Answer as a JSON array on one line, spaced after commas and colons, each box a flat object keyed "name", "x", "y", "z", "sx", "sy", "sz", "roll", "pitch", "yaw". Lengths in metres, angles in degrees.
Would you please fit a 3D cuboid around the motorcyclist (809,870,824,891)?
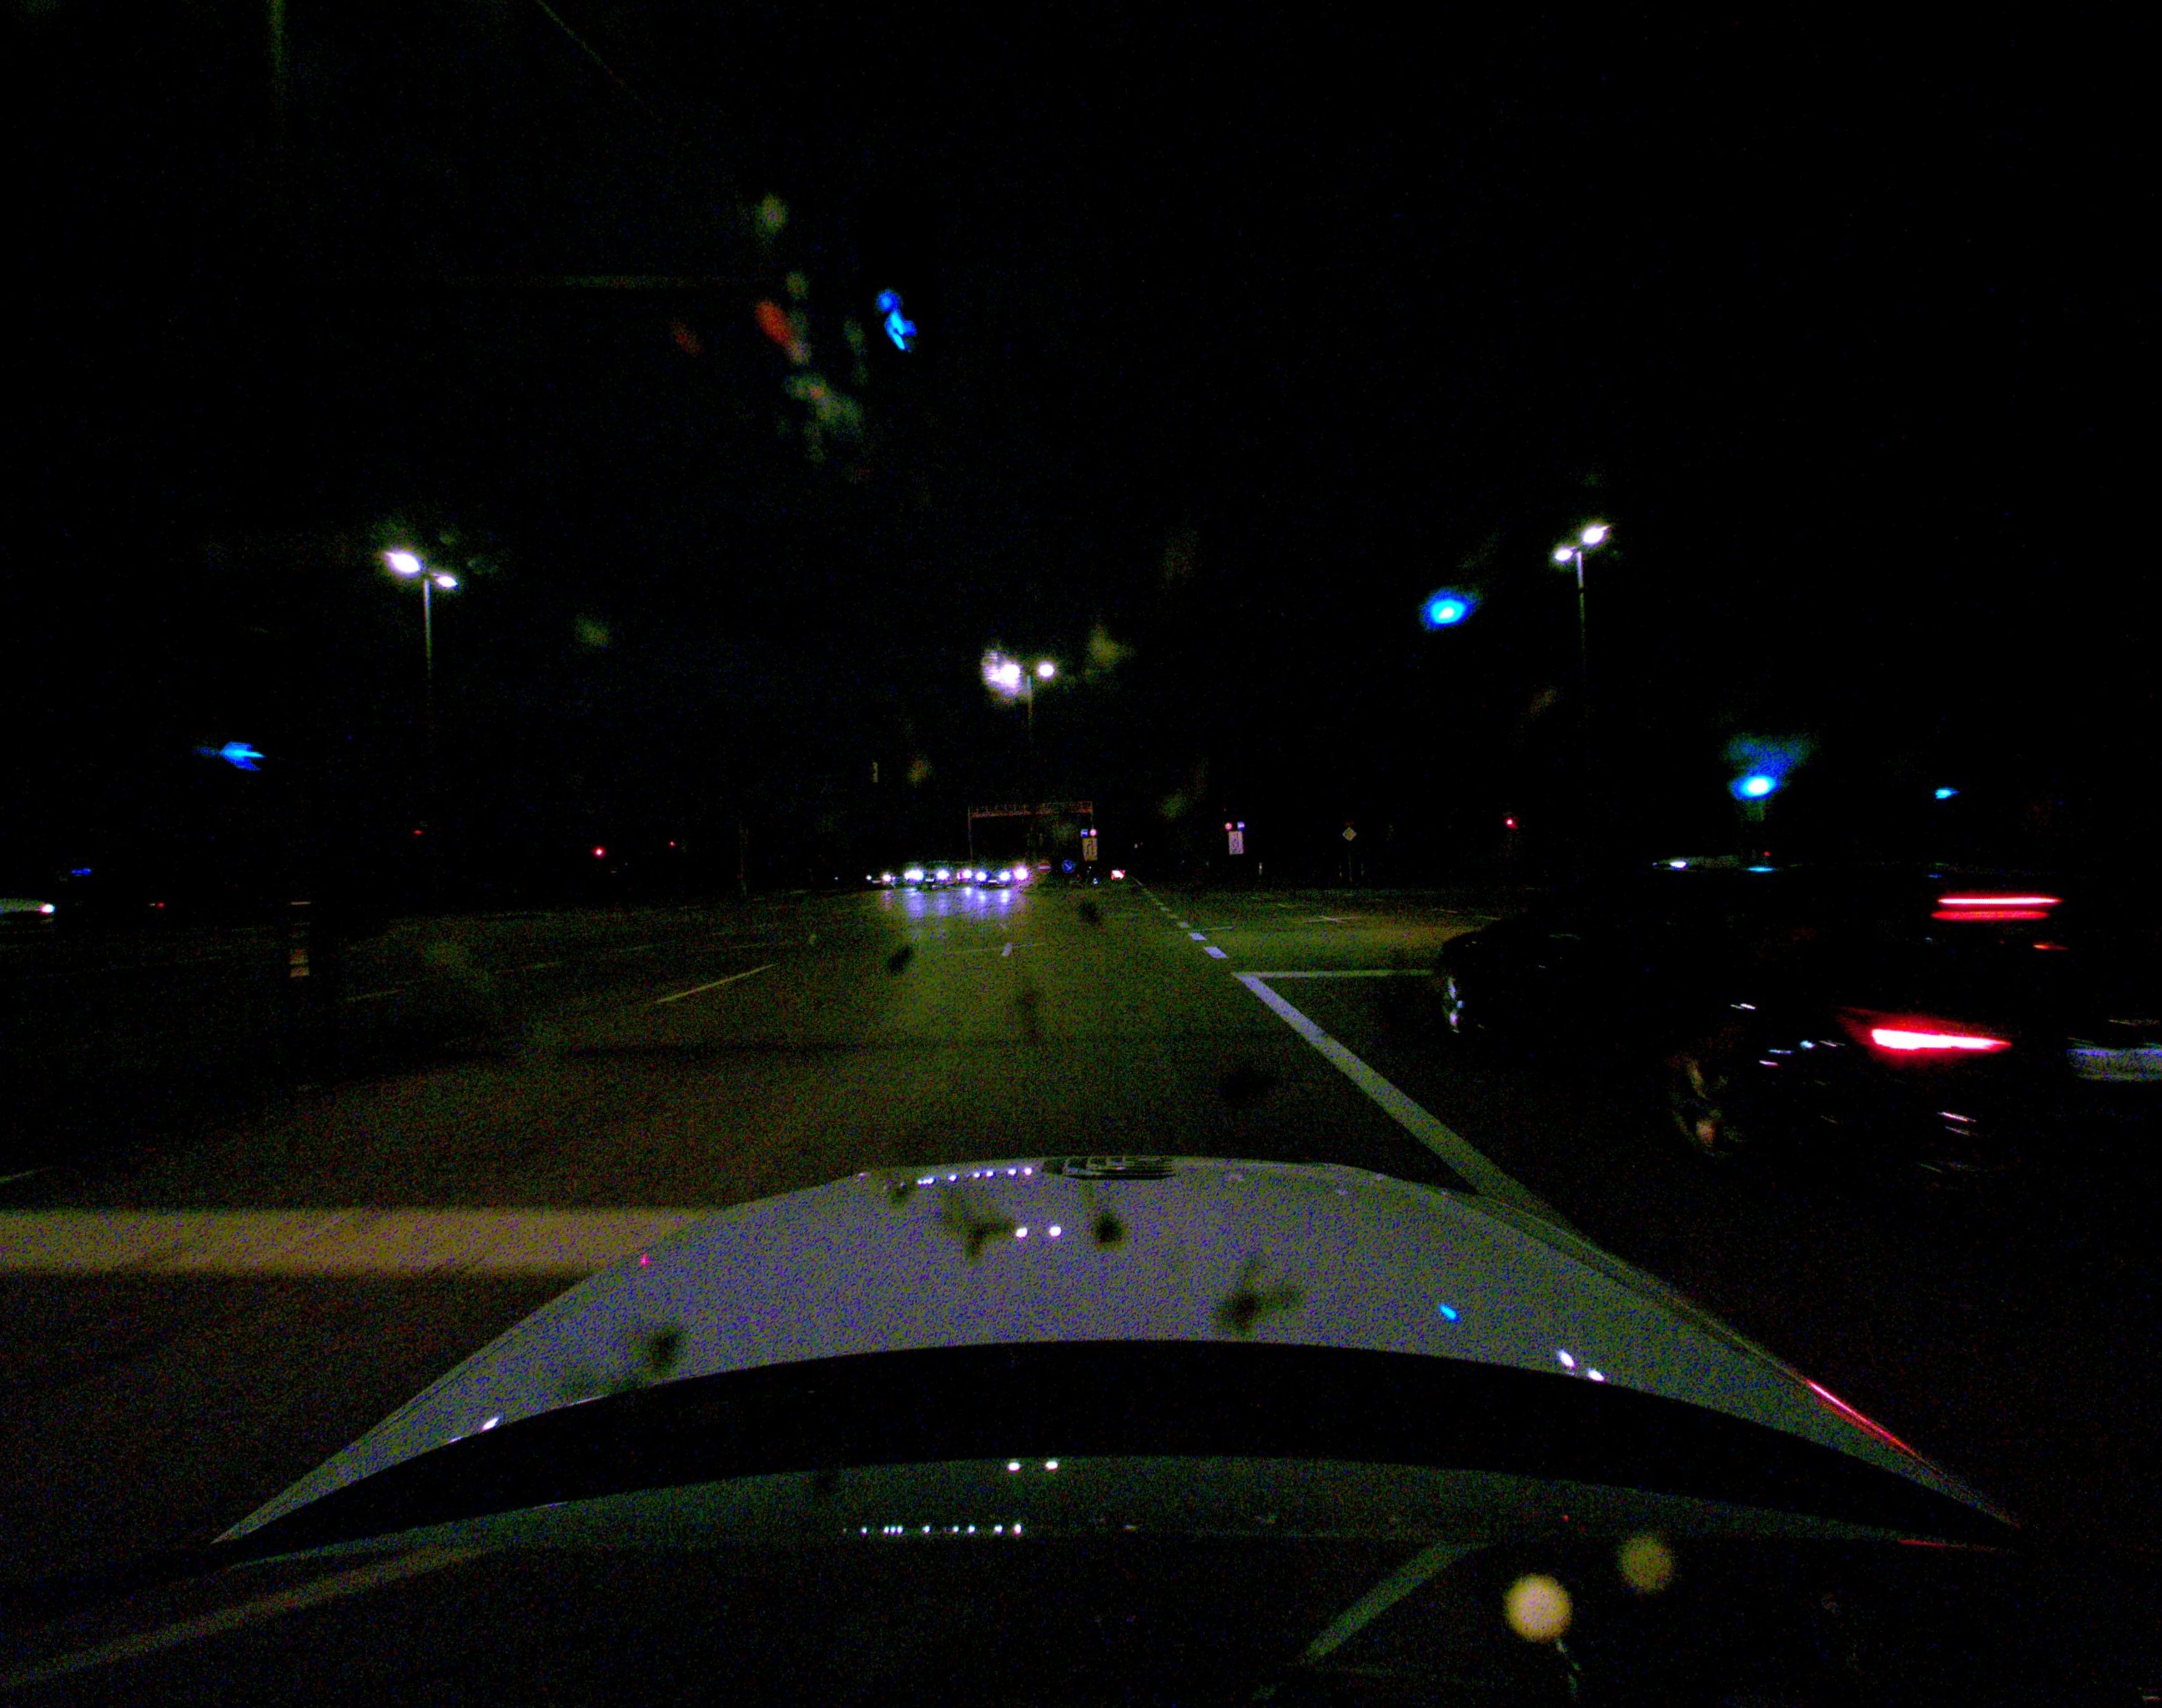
[{"name": "motorcyclist", "x": -24.414, "y": 2.467, "z": 75.165, "sx": 0.912, "sy": 1.809, "sz": 0.869, "roll": -6, "pitch": -3, "yaw": -4}]

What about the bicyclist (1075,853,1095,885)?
[{"name": "bicyclist", "x": 0.219, "y": 0.784, "z": 43.325, "sx": 0.995, "sy": 1.651, "sz": 0.603, "roll": -1, "pitch": -1, "yaw": -3}]

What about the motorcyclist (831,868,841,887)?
[{"name": "motorcyclist", "x": -24.060, "y": 2.313, "z": 79.945, "sx": 0.681, "sy": 1.759, "sz": 0.788, "roll": -5, "pitch": -3, "yaw": -6}]

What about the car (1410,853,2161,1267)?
[{"name": "car", "x": 3.785, "y": 0.745, "z": 5.117, "sx": 1.783, "sy": 1.443, "sz": 4.536, "roll": 0, "pitch": -1, "yaw": 3}]

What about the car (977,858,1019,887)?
[{"name": "car", "x": -4.997, "y": 1.073, "z": 49.732, "sx": 1.844, "sy": 1.633, "sz": 4.589, "roll": -1, "pitch": 0, "yaw": 3}]

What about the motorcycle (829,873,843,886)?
[{"name": "motorcycle", "x": -24.038, "y": 2.520, "z": 79.958, "sx": 0.846, "sy": 1.181, "sz": 1.817, "roll": -5, "pitch": -3, "yaw": -6}]

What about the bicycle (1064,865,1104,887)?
[{"name": "bicycle", "x": 0.145, "y": 1.181, "z": 43.300, "sx": 2.057, "sy": 1.101, "sz": 0.694, "roll": -1, "pitch": -1, "yaw": -4}]

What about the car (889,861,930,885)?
[{"name": "car", "x": -12.012, "y": 1.279, "z": 57.188, "sx": 1.824, "sy": 1.524, "sz": 4.003, "roll": -2, "pitch": 0, "yaw": 3}]

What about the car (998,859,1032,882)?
[{"name": "car", "x": -4.628, "y": 1.137, "z": 57.570, "sx": 1.765, "sy": 1.481, "sz": 3.914, "roll": -1, "pitch": 0, "yaw": 4}]

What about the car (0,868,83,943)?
[{"name": "car", "x": -28.671, "y": 1.327, "z": 20.558, "sx": 4.741, "sy": 1.814, "sz": 1.850, "roll": -1, "pitch": -1, "yaw": 1}]

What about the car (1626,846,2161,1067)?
[{"name": "car", "x": 7.262, "y": 0.698, "z": 7.542, "sx": 1.614, "sy": 1.443, "sz": 4.116, "roll": -2, "pitch": -1, "yaw": 0}]

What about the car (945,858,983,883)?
[{"name": "car", "x": -8.163, "y": 1.132, "z": 56.988, "sx": 1.738, "sy": 1.626, "sz": 4.367, "roll": -1, "pitch": 0, "yaw": 4}]

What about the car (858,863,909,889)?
[{"name": "car", "x": -12.191, "y": 1.338, "z": 50.581, "sx": 1.772, "sy": 1.446, "sz": 4.296, "roll": -1, "pitch": 0, "yaw": 5}]

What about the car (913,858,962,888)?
[{"name": "car", "x": -8.671, "y": 1.121, "z": 49.663, "sx": 1.900, "sy": 1.682, "sz": 4.424, "roll": -1, "pitch": 0, "yaw": 4}]
